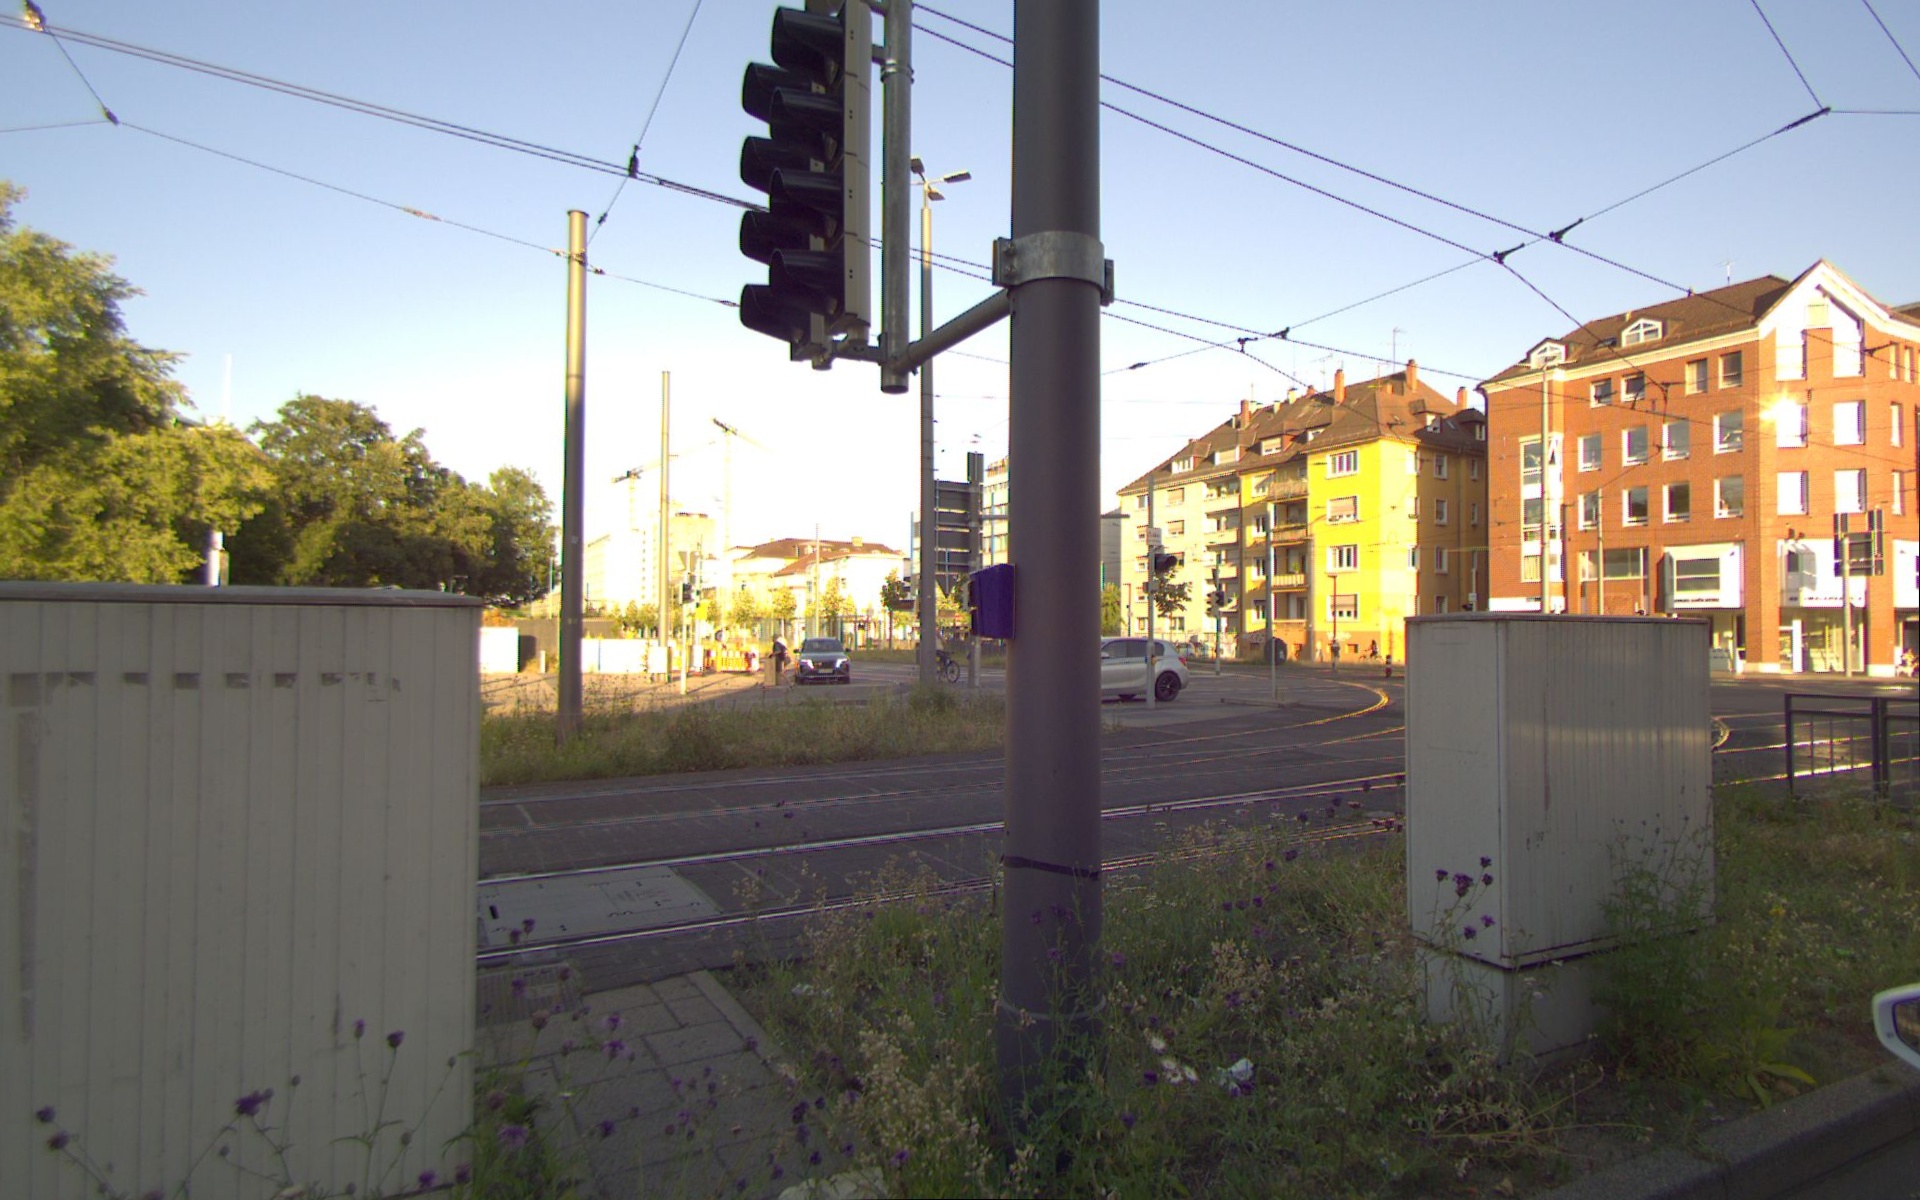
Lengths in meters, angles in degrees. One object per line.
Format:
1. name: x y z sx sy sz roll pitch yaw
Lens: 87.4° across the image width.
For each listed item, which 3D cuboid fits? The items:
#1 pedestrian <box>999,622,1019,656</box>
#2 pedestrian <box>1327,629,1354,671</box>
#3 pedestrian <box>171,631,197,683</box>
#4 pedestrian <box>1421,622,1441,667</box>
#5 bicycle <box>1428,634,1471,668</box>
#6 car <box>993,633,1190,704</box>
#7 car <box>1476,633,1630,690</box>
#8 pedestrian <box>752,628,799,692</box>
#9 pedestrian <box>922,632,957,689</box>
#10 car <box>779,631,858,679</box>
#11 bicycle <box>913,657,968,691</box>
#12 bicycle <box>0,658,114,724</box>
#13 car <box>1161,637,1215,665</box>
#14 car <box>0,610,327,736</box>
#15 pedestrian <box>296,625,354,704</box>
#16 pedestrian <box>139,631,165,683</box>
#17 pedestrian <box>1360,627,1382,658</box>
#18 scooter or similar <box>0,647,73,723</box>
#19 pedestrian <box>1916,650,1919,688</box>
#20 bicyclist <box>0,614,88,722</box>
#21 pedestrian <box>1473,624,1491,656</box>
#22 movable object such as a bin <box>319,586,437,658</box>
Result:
1. pedestrian: 2.728 2.178 56.276 0.711 1.892 0.880 -2 -2 44
2. pedestrian: 17.322 2.270 45.775 0.924 1.893 0.839 1 0 4
3. pedestrian: -25.178 1.833 32.577 0.594 1.680 0.531 1 -2 -34
4. pedestrian: 19.822 1.859 42.285 0.556 1.893 0.499 1 0 -31
5. bicycle: 20.493 2.121 42.027 1.992 1.343 0.615 1 0 -30
6. car: 2.947 1.468 22.412 4.144 1.467 1.665 1 -2 -25
7. car: 17.678 1.785 29.910 4.424 1.606 1.985 1 -2 -29
8. pedestrian: -5.744 1.852 31.294 1.018 1.970 1.086 2 -3 -45
9. pedestrian: -0.705 2.085 34.675 0.887 1.936 0.837 1 -2 -37
10. car: -5.219 1.941 36.520 1.969 1.639 4.546 1 -2 -19
11. bicycle: -0.683 2.514 34.545 0.886 1.074 1.989 1 -2 -36
12. bicycle: -14.956 1.477 16.415 1.602 1.021 0.663 1 -2 -28
13. car: 18.248 4.041 80.531 1.978 2.040 3.966 1 -1 -32
14. car: -11.530 0.987 14.414 4.067 1.606 1.983 1 -2 -32
15. pedestrian: -15.443 1.553 24.450 0.961 1.892 0.882 1 -2 -18
16. pedestrian: -26.303 1.844 32.692 0.529 1.680 0.596 -2 -2 45
17. pedestrian: 25.792 2.644 63.036 0.830 1.893 0.934 1 0 -35
18. scooter or similar: -18.783 1.686 20.263 0.507 1.465 1.257 0 -2 11
19. pedestrian: 48.662 3.465 50.464 0.665 1.893 0.634 1 0 0
20. bicyclist: -14.986 1.094 16.395 0.967 1.710 0.660 1 -2 -27
21. pedestrian: 30.982 2.370 59.603 0.796 1.893 0.660 1 0 42
22. movable object such as a bin: -27.048 1.041 46.842 4.268 3.271 1.996 1 -2 -12
